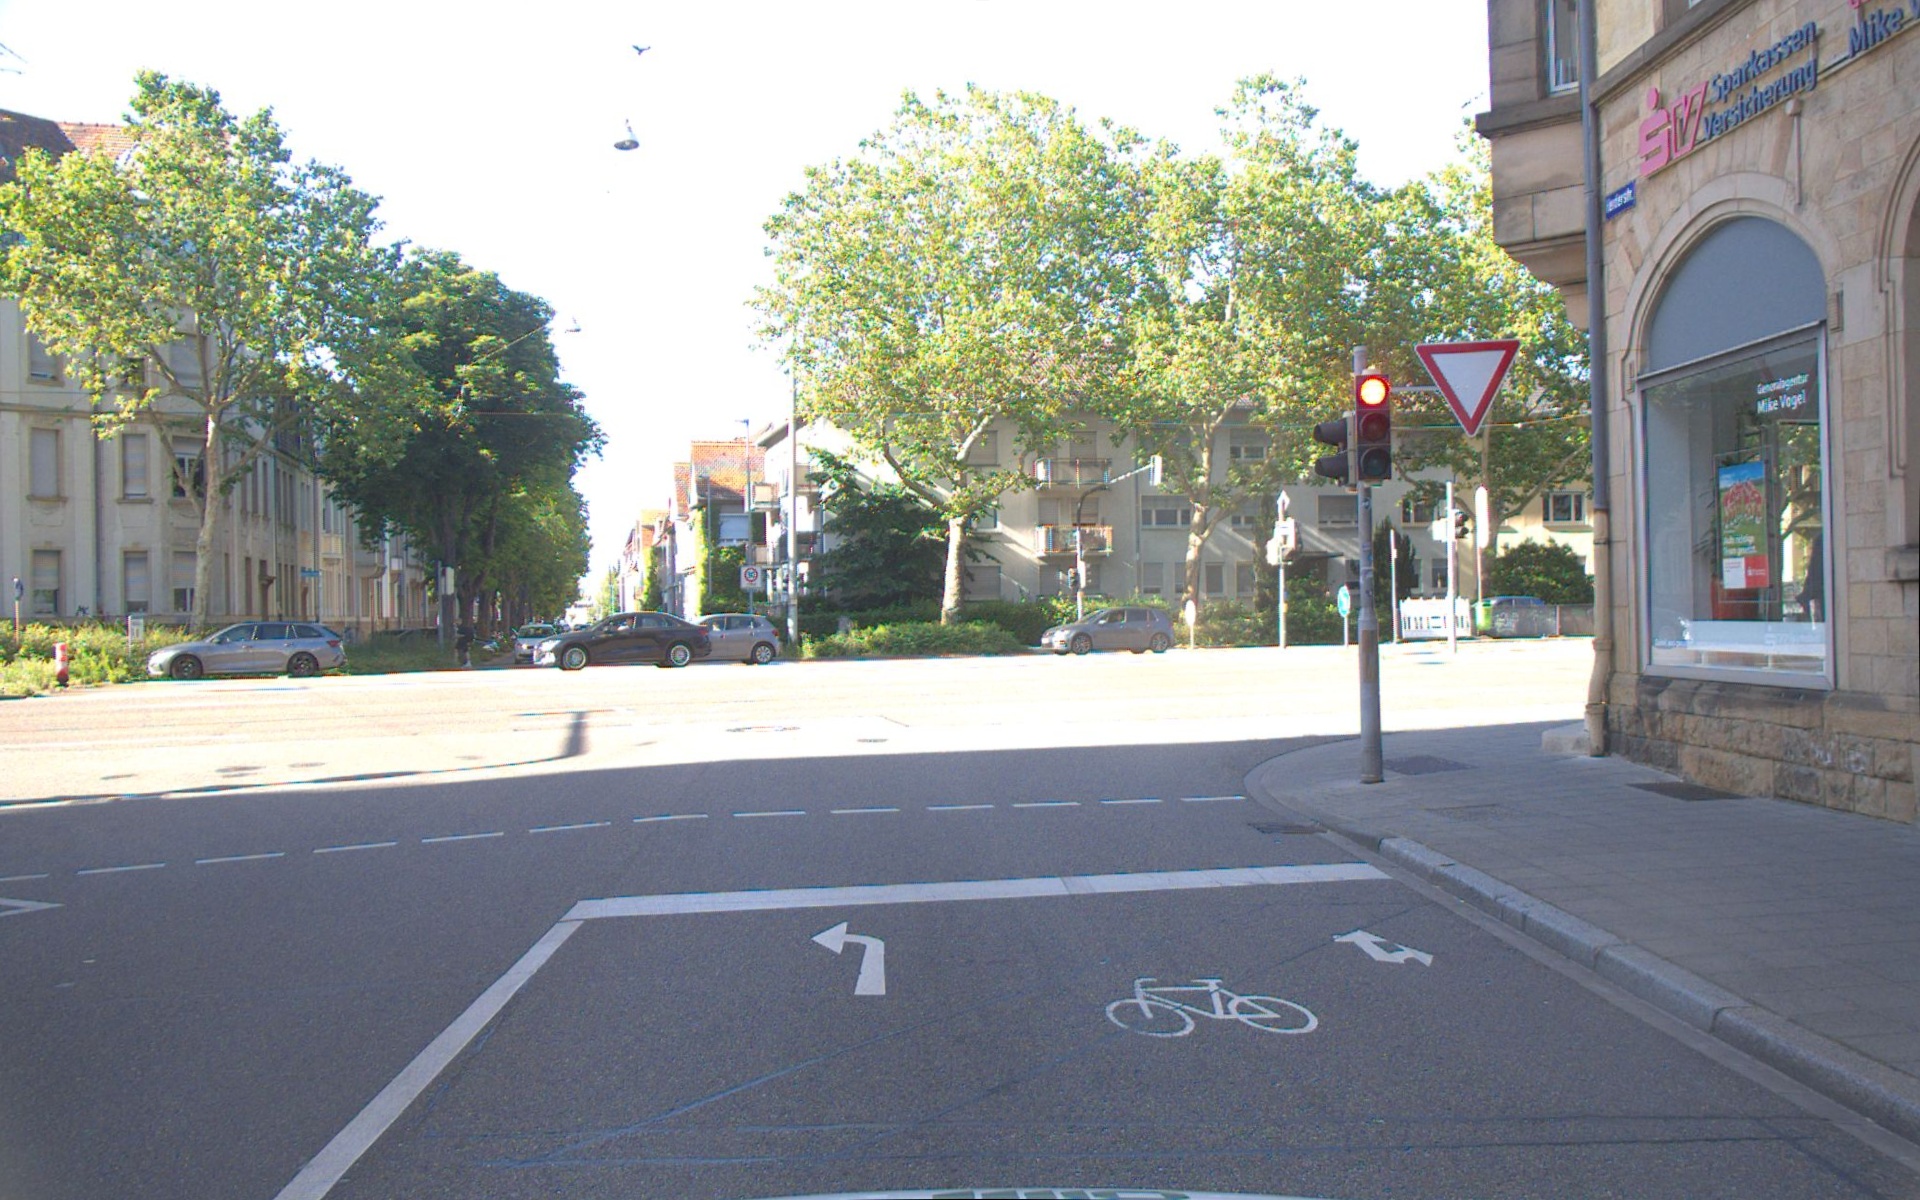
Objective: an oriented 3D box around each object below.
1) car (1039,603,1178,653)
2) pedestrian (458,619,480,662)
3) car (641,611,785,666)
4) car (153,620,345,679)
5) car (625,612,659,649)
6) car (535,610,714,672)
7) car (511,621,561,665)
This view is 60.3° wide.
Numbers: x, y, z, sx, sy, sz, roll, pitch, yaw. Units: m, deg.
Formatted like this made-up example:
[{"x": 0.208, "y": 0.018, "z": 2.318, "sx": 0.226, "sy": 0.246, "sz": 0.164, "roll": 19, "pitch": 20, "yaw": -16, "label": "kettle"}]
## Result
[{"x": 4.522, "y": 0.835, "z": 50.407, "sx": 3.878, "sy": 1.425, "sz": 1.638, "roll": -1, "pitch": 0, "yaw": -18, "label": "car"}, {"x": -17.037, "y": 1.403, "z": 57.375, "sx": 0.692, "sy": 1.467, "sz": 0.487, "roll": 1, "pitch": -1, "yaw": -18, "label": "pedestrian"}, {"x": -6.894, "y": 1.041, "z": 46.174, "sx": 3.728, "sy": 1.425, "sz": 1.635, "roll": -1, "pitch": 0, "yaw": -22, "label": "car"}, {"x": -17.793, "y": 1.216, "z": 41.616, "sx": 4.323, "sy": 1.339, "sz": 1.636, "roll": -1, "pitch": 0, "yaw": -21, "label": "car"}, {"x": -18.161, "y": 1.723, "z": 94.264, "sx": 1.742, "sy": 1.952, "sz": 3.523, "roll": -3, "pitch": 0, "yaw": -12, "label": "car"}, {"x": -8.480, "y": 1.015, "z": 41.827, "sx": 4.207, "sy": 1.425, "sz": 1.635, "roll": -1, "pitch": 0, "yaw": -22, "label": "car"}, {"x": -16.273, "y": 1.637, "z": 63.562, "sx": 1.669, "sy": 1.509, "sz": 3.523, "roll": -3, "pitch": 1, "yaw": -12, "label": "car"}]
